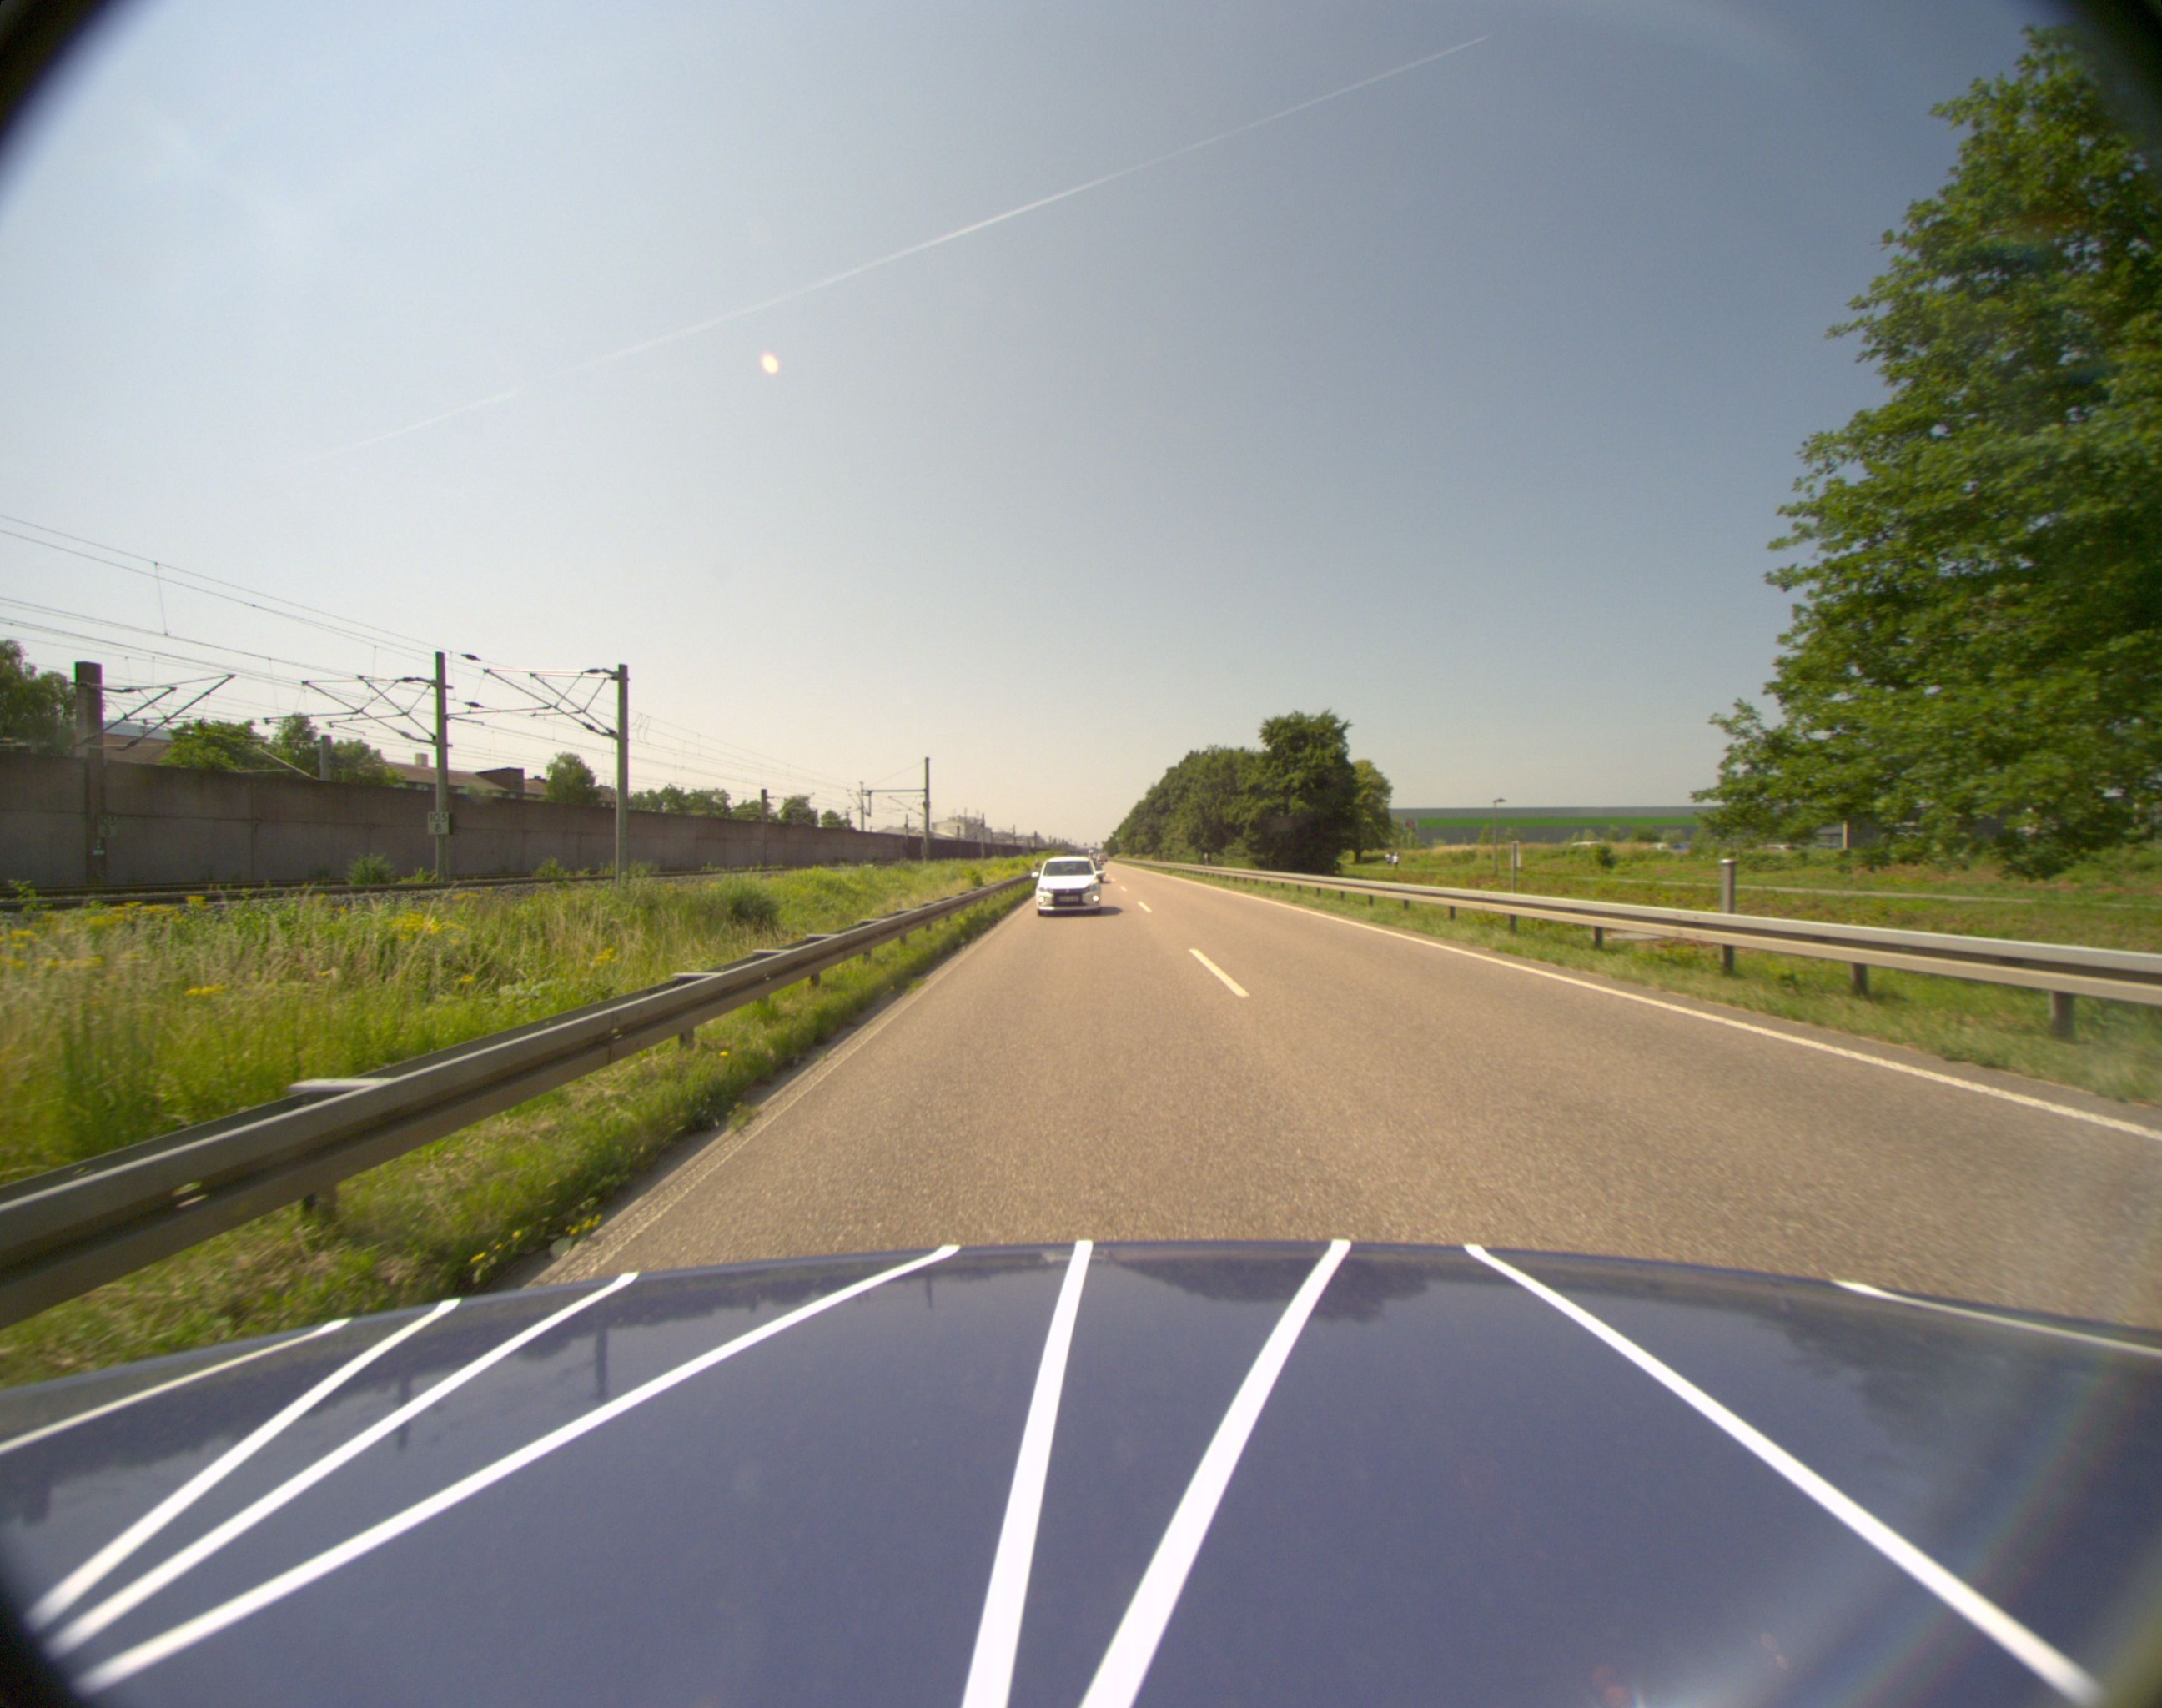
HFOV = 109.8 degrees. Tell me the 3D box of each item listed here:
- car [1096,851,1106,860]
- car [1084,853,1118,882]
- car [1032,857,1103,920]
[{"bbox_3d":[3.687,0.262,137.801,1.711,1.471,4.155,-2,0,0],"label":"car"},{"bbox_3d":[1.062,0.692,41.390,1.711,1.471,4.155,-2,0,0],"label":"car"},{"bbox_3d":[-0.315,0.858,20.718,1.701,1.471,4.155,-2,0,0],"label":"car"}]
